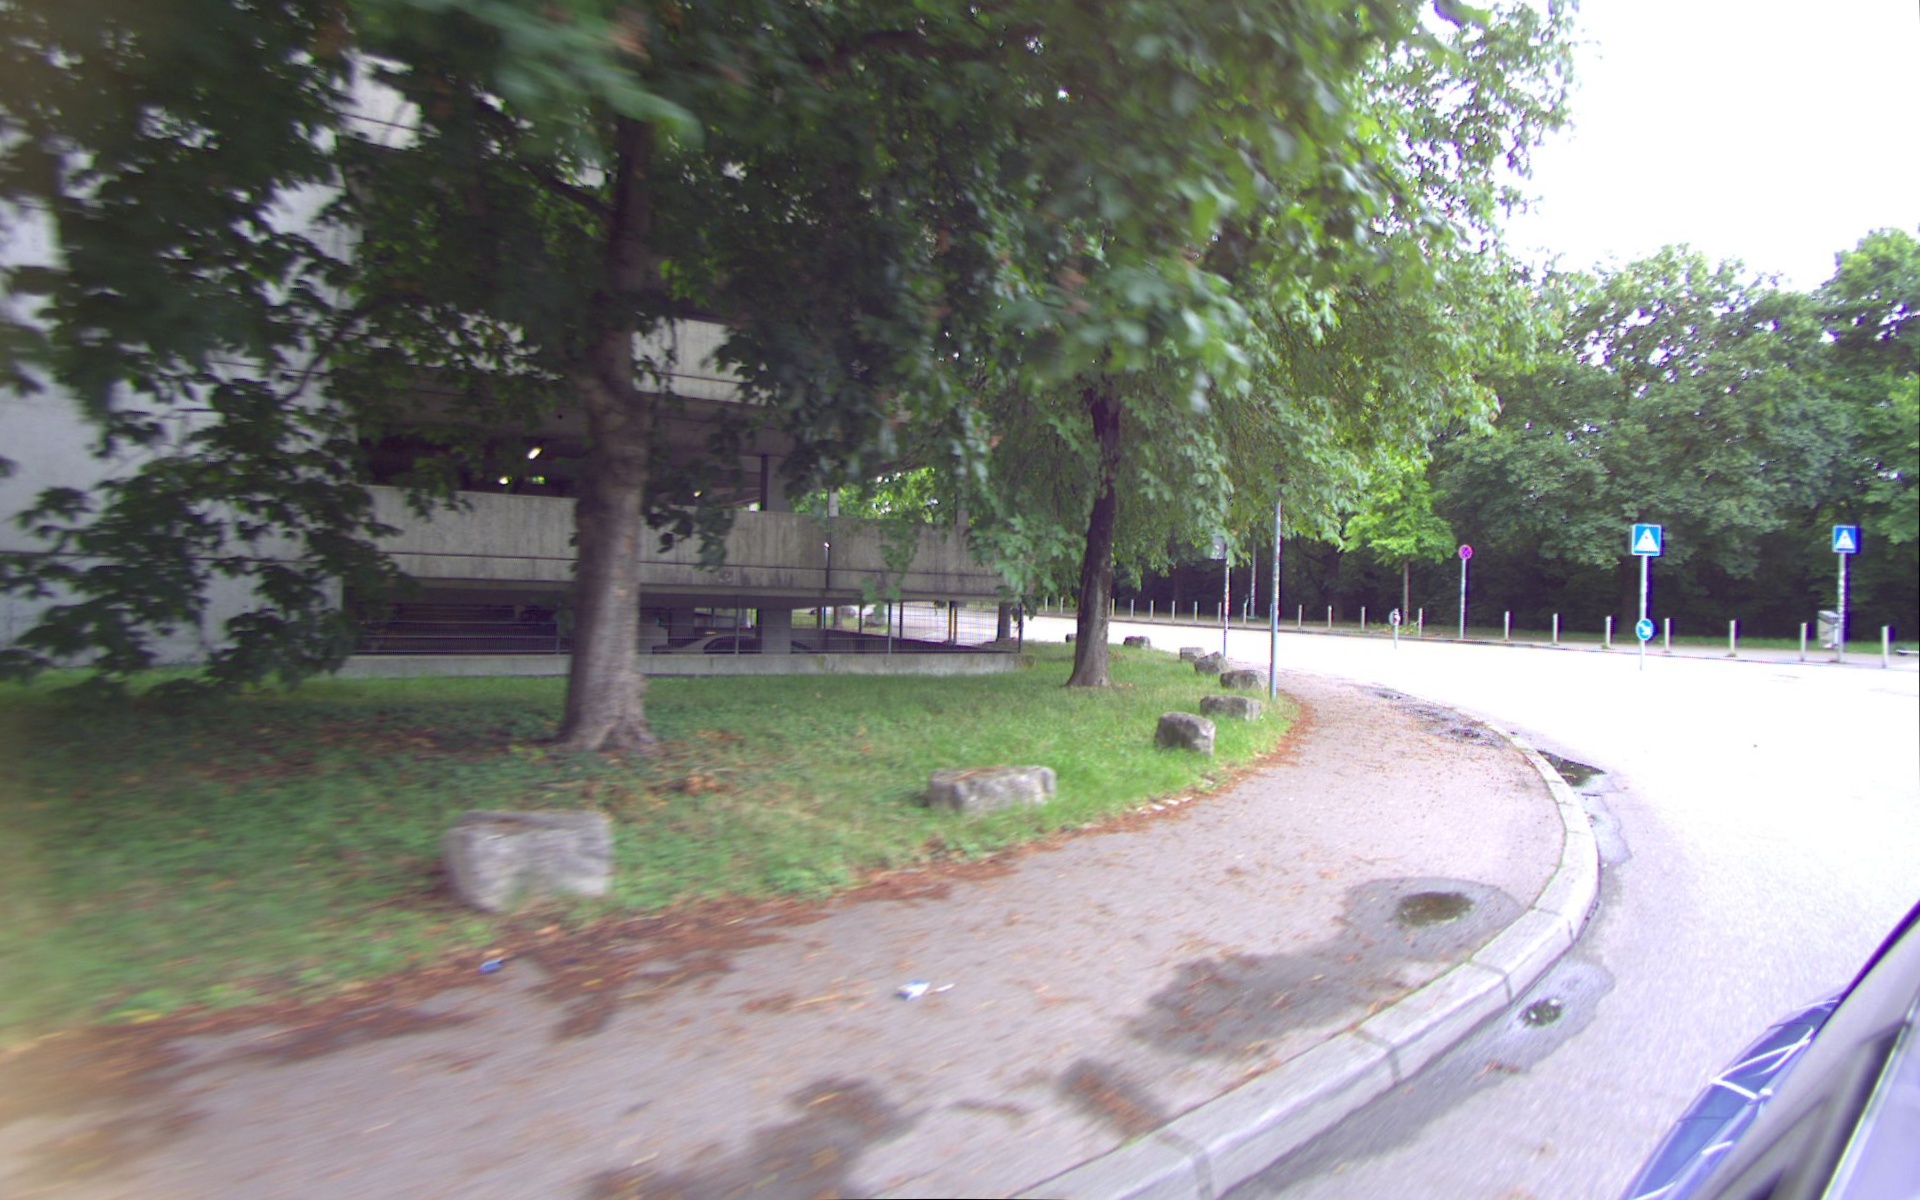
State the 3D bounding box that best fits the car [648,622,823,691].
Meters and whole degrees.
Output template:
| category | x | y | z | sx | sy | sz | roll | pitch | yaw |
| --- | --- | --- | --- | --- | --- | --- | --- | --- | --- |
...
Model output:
| category | x | y | z | sx | sy | sz | roll | pitch | yaw |
| --- | --- | --- | --- | --- | --- | --- | --- | --- | --- |
| car | -5.567 | 1.336 | 25.134 | 3.918 | 1.471 | 1.881 | -1 | 0 | -26 |
